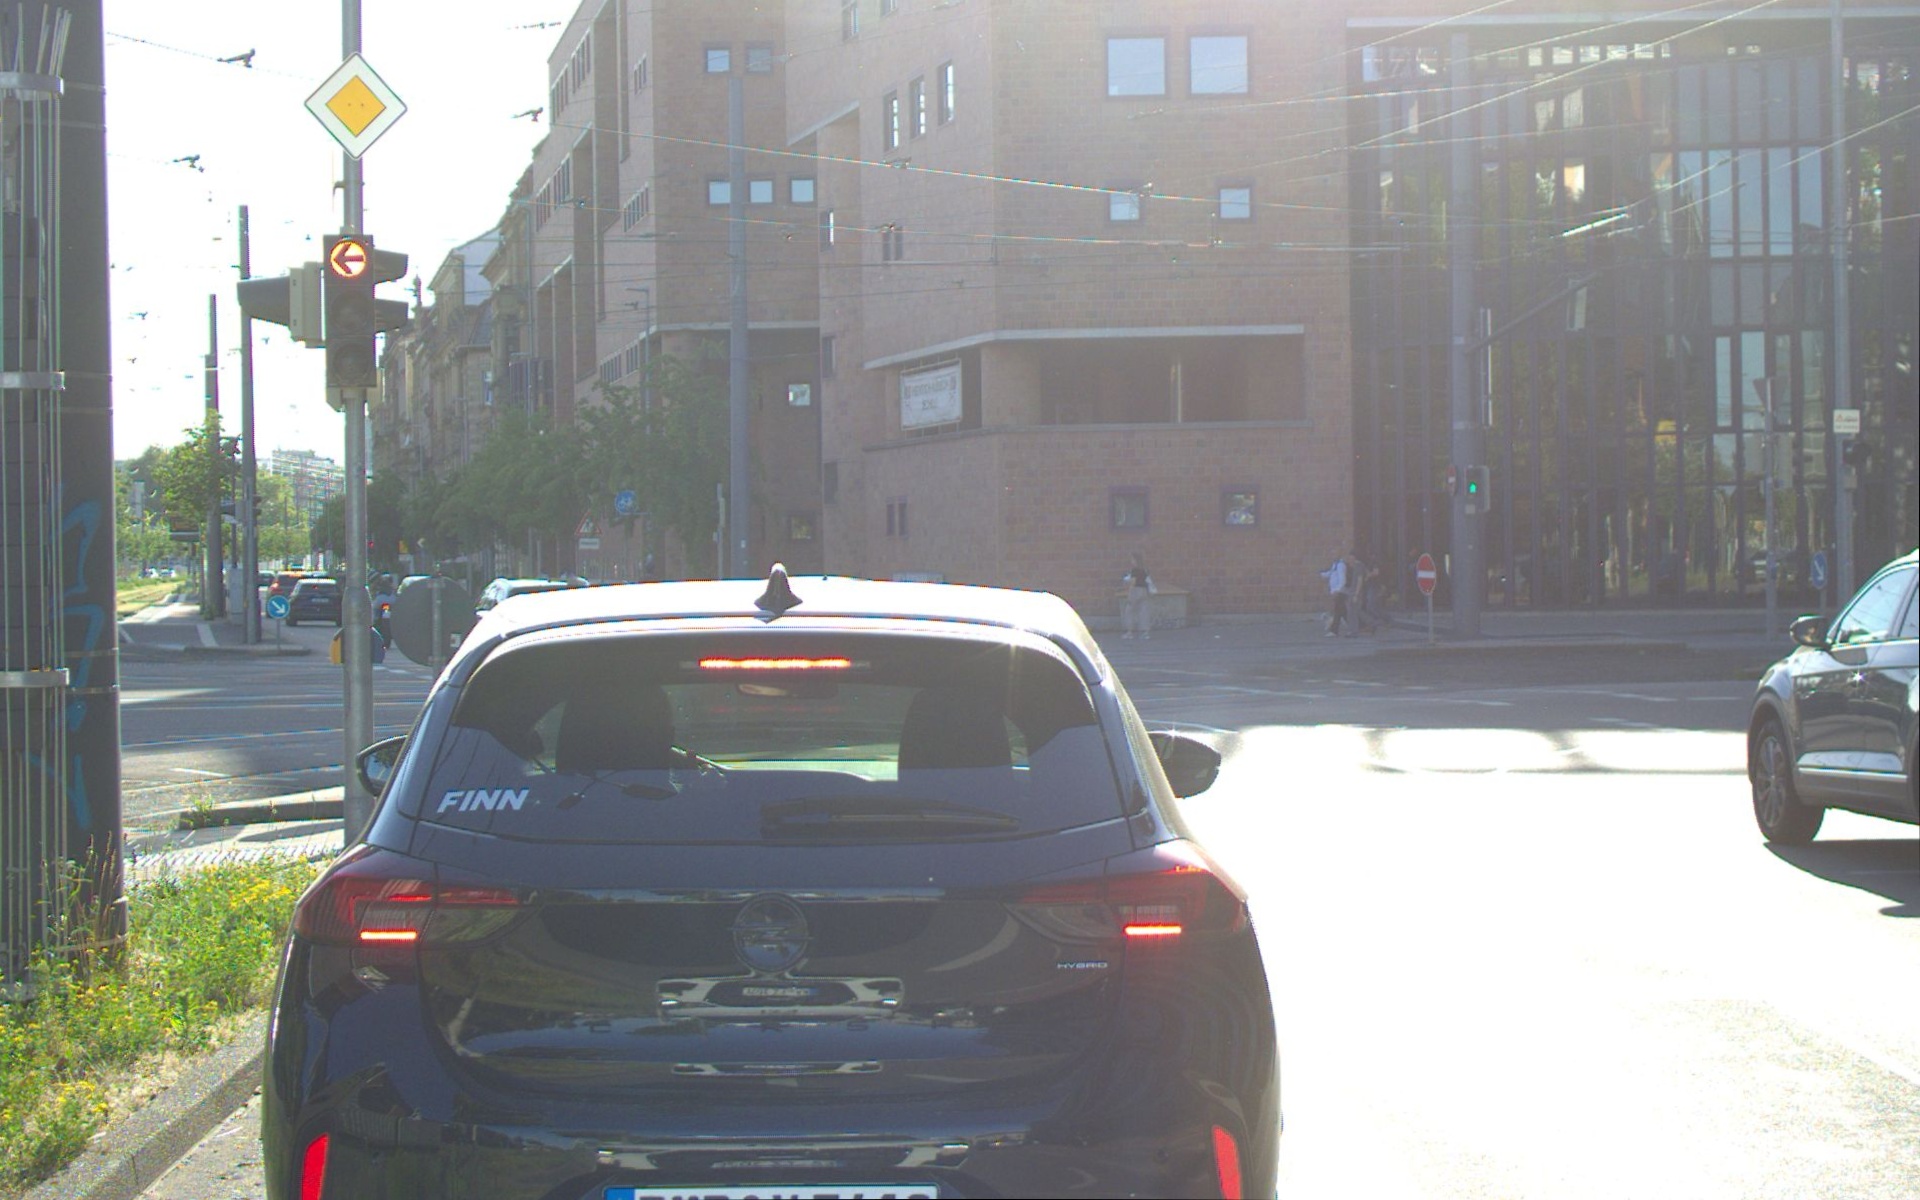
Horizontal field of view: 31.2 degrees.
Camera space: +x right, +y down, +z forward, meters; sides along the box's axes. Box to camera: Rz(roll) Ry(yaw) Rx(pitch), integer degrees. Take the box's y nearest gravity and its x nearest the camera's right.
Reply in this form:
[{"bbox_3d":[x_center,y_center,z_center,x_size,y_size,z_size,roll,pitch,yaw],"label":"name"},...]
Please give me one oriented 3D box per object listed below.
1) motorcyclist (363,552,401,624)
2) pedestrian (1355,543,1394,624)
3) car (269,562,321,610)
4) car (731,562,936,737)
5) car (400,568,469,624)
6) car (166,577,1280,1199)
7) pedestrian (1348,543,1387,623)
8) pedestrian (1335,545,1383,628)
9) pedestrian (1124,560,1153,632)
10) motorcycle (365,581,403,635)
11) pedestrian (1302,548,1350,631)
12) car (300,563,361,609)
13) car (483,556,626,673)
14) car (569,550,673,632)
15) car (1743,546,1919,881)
[{"bbox_3d":[-12.340,-0.264,73.392,0.744,1.525,1.021,-1,1,-8],"label":"motorcyclist"},{"bbox_3d":[8.314,-0.331,68.911,0.738,1.611,0.560,-1,1,8],"label":"pedestrian"},{"bbox_3d":[-23.866,-0.518,123.321,1.737,1.645,4.001,-1,1,-12],"label":"car"},{"bbox_3d":[-1.290,0.430,33.414,1.685,1.428,4.154,3,2,-5],"label":"car"},{"bbox_3d":[-14.327,-0.126,93.749,1.807,1.452,4.001,0,1,-9],"label":"car"},{"bbox_3d":[-0.328,0.689,7.120,1.649,1.428,4.000,-1,1,1],"label":"car"},{"bbox_3d":[8.278,-0.343,69.842,0.738,1.611,0.560,-1,1,8],"label":"pedestrian"},{"bbox_3d":[7.823,-0.272,67.335,0.900,1.611,0.560,-1,1,8],"label":"pedestrian"},{"bbox_3d":[3.593,-0.081,69.301,0.529,1.425,0.598,-1,1,-1],"label":"pedestrian"},{"bbox_3d":[-12.293,0.165,73.452,0.775,1.111,1.970,-1,1,-9],"label":"motorcycle"},{"bbox_3d":[7.244,-0.214,68.026,0.900,1.611,0.560,-1,1,8],"label":"pedestrian"},{"bbox_3d":[-19.370,-0.441,105.704,1.737,1.345,4.001,-1,1,-12],"label":"car"},{"bbox_3d":[-5.744,0.167,48.354,1.811,1.487,4.497,-2,1,-8],"label":"car"},{"bbox_3d":[-6.276,-0.191,63.394,1.807,1.452,4.001,0,1,-7],"label":"car"},{"bbox_3d":[5.154,0.488,16.509,1.744,1.499,3.881,-1,1,-2],"label":"car"}]
